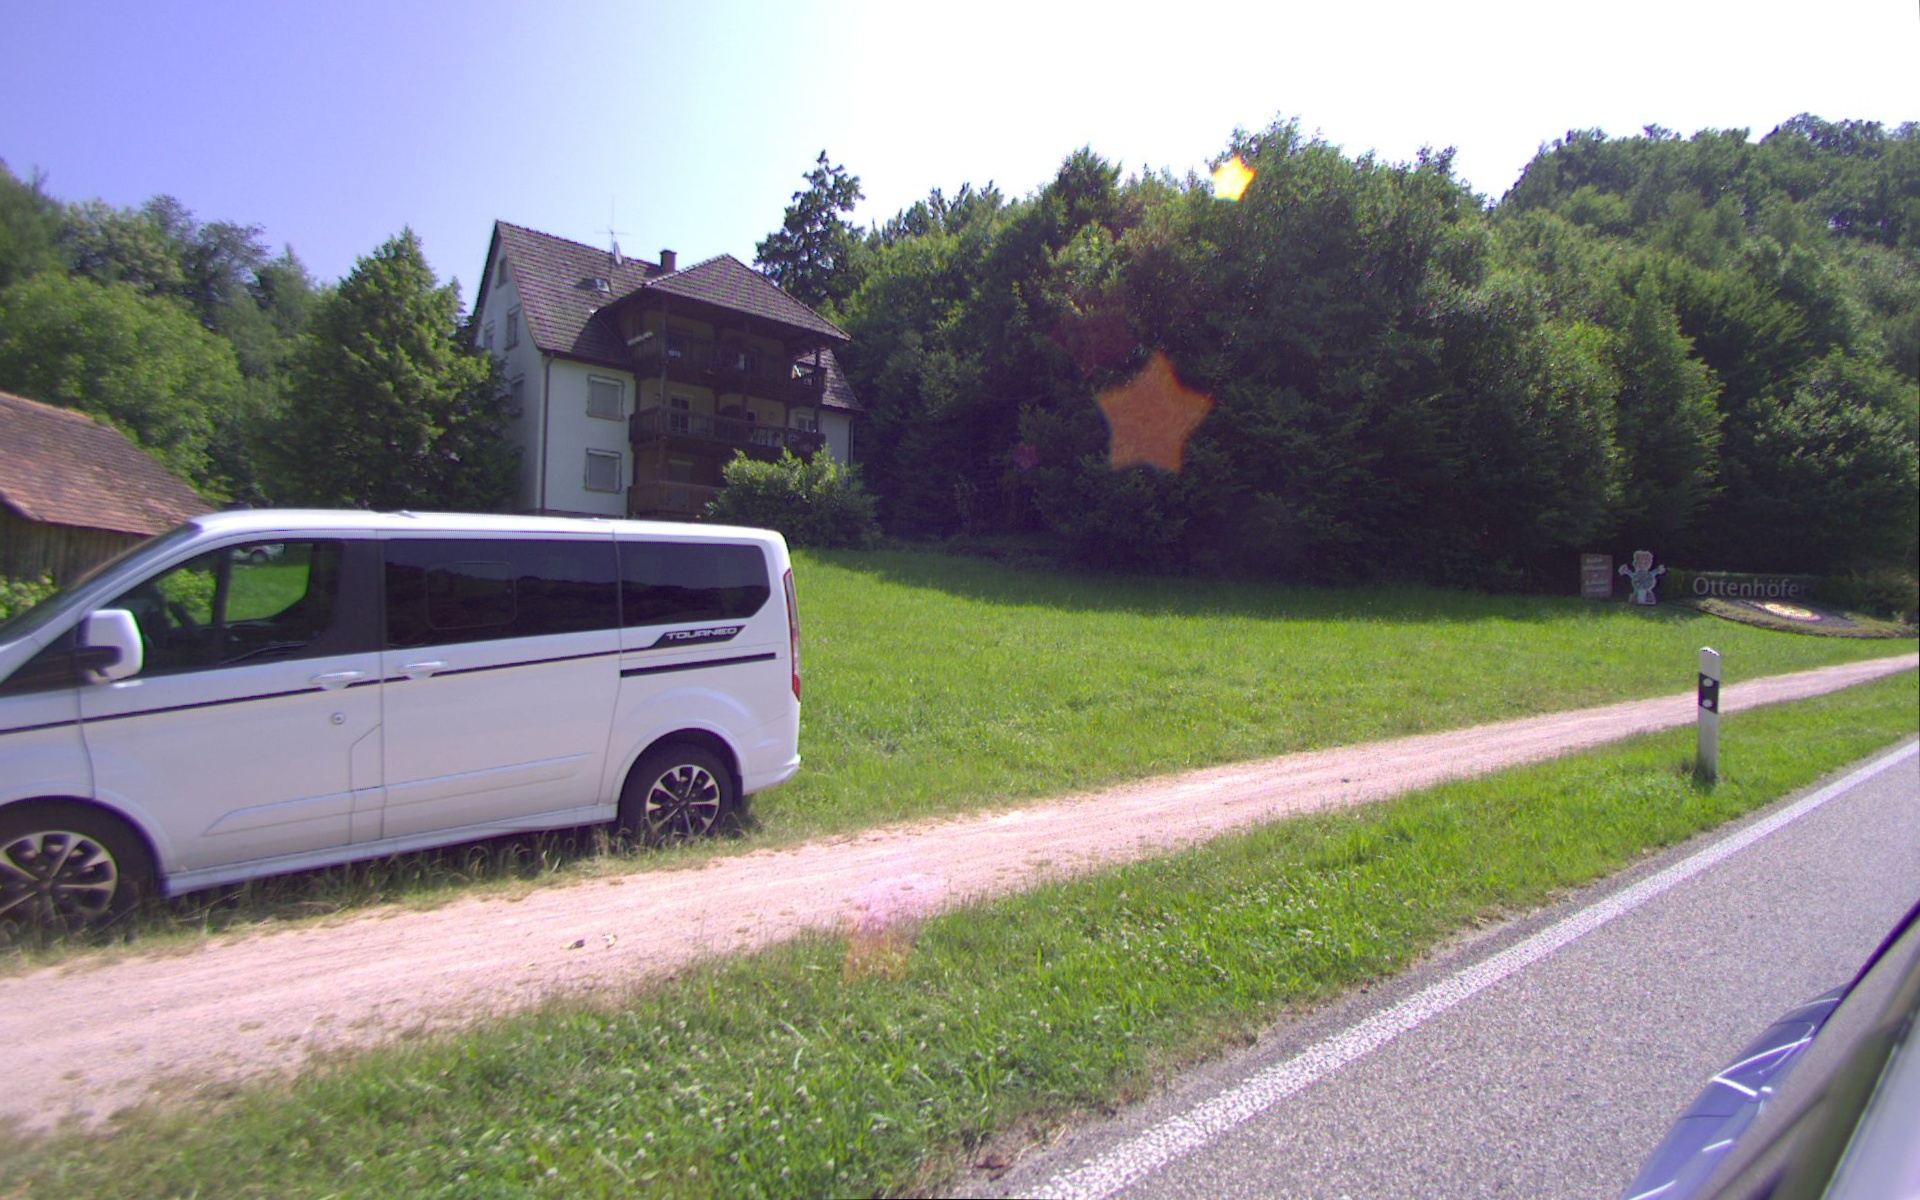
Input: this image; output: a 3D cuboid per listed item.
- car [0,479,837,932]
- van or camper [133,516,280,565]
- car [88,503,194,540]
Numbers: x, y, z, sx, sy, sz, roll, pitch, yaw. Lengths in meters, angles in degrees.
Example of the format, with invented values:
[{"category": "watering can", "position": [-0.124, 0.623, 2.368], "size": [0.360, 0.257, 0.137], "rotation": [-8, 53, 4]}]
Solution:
[{"category": "car", "position": [-3.329, 0.355, 5.946], "size": [4.780, 1.870, 2.006], "rotation": [0, 5, -38]}, {"category": "van or camper", "position": [-34.852, -2.690, 46.907], "size": [5.338, 1.974, 2.815], "rotation": [0, 0, -39]}, {"category": "car", "position": [-46.065, -4.385, 56.982], "size": [1.919, 1.634, 4.387], "rotation": [1, -1, 42]}]
